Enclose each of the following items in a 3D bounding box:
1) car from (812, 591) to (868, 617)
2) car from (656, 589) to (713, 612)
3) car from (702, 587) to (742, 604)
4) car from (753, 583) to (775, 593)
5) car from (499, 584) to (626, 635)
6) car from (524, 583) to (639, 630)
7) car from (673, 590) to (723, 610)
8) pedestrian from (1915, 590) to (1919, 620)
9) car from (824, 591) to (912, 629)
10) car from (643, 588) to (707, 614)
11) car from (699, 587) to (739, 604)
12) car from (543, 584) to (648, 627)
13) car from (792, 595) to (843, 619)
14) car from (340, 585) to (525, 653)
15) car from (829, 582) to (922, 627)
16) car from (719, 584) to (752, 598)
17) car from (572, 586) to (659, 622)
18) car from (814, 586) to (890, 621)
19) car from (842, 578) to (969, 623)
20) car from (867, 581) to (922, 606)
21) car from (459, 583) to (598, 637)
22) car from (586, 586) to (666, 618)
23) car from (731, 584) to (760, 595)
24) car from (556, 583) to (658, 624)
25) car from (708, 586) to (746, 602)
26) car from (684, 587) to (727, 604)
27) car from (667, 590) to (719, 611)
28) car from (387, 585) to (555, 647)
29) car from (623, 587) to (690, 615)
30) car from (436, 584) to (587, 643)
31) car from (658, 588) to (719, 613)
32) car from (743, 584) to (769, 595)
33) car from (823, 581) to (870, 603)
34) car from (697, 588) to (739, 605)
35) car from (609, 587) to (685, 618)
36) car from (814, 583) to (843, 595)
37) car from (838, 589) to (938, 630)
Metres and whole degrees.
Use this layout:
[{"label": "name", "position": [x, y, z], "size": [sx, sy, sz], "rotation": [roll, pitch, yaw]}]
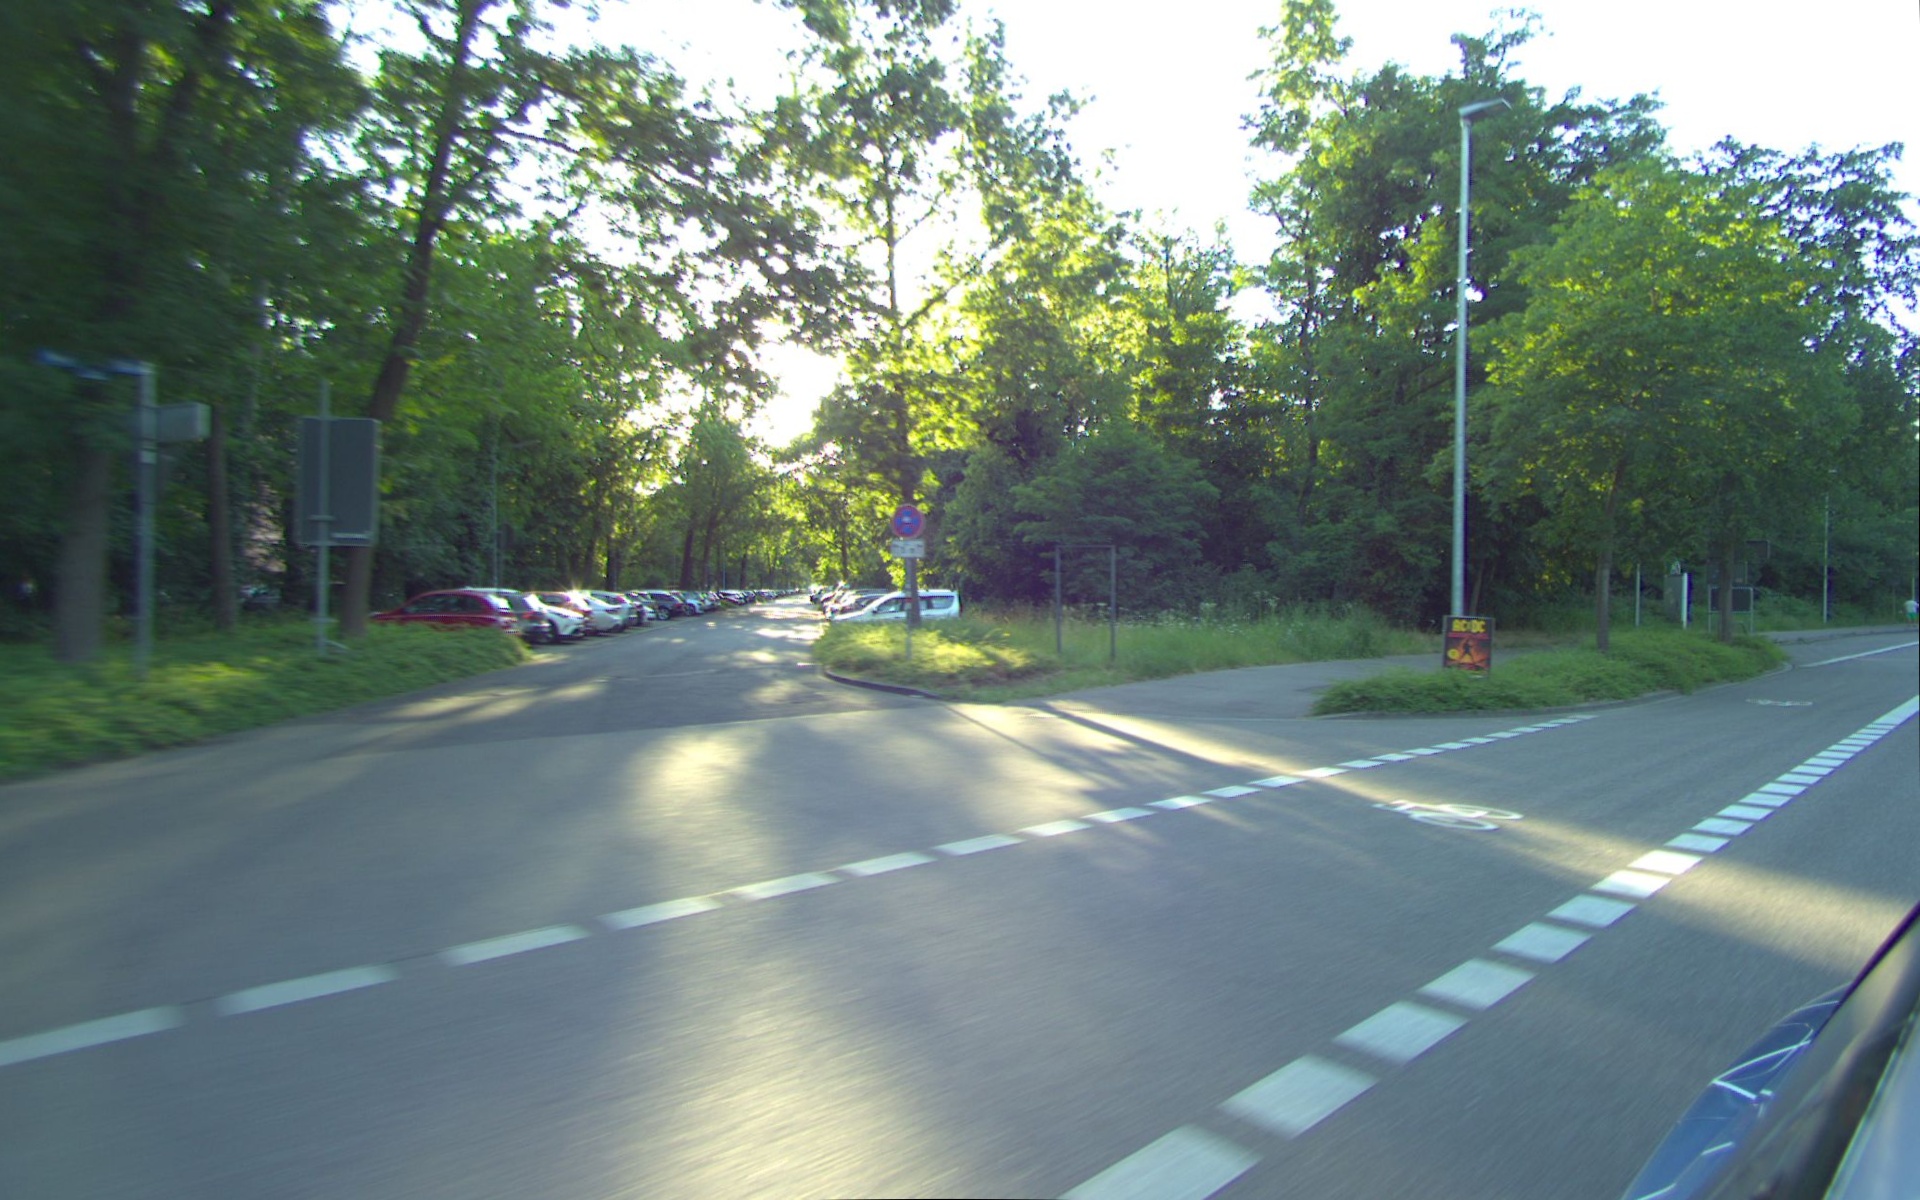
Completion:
[{"label": "car", "position": [-7.918, 0.263, 66.610], "size": [3.567, 1.683, 1.544], "rotation": [0, 1, -11]}, {"label": "car", "position": [-18.820, 0.032, 69.221], "size": [3.569, 1.534, 1.544], "rotation": [0, 1, -7]}, {"label": "car", "position": [-23.126, -0.441, 98.436], "size": [3.569, 1.534, 1.544], "rotation": [0, 1, -7]}, {"label": "car", "position": [-32.123, -1.929, 165.898], "size": [3.569, 1.534, 1.544], "rotation": [0, 1, -7]}, {"label": "car", "position": [-13.513, 0.306, 34.555], "size": [3.762, 1.667, 1.544], "rotation": [0, 1, -7]}, {"label": "car", "position": [-14.025, 0.223, 37.621], "size": [3.762, 1.667, 1.544], "rotation": [0, 1, -7]}, {"label": "car", "position": [-20.302, 0.005, 78.488], "size": [3.569, 1.534, 1.544], "rotation": [0, 1, -7]}, {"label": "pedestrian", "position": [57.574, 0.308, 60.375], "size": [0.713, 1.774, 0.840], "rotation": [1, 0, -40]}, {"label": "car", "position": [-3.897, 0.415, 42.755], "size": [3.567, 1.563, 1.544], "rotation": [0, 1, -11]}, {"label": "car", "position": [-17.364, 0.050, 61.755], "size": [3.569, 1.534, 1.544], "rotation": [0, 1, -7]}, {"label": "car", "position": [-22.878, -0.454, 96.038], "size": [3.569, 1.534, 1.544], "rotation": [0, 1, -7]}, {"label": "car", "position": [-14.722, 0.218, 40.980], "size": [3.762, 1.667, 1.544], "rotation": [0, 1, -7]}, {"label": "car", "position": [-10.276, 0.532, 72.960], "size": [3.567, 1.683, 1.544], "rotation": [0, 1, -11]}, {"label": "car", "position": [-12.986, 0.451, 25.079], "size": [3.762, 1.605, 1.544], "rotation": [0, 1, -7]}, {"label": "car", "position": [-3.411, 0.171, 40.679], "size": [3.567, 1.728, 1.544], "rotation": [0, 0, -11]}, {"label": "car", "position": [-25.744, -1.071, 115.975], "size": [3.569, 1.534, 1.544], "rotation": [0, 1, -7]}, {"label": "car", "position": [-15.757, 0.168, 46.425], "size": [3.569, 1.570, 1.544], "rotation": [0, 1, -7]}, {"label": "car", "position": [-5.358, 0.146, 49.978], "size": [3.567, 1.683, 1.544], "rotation": [0, 1, -11]}, {"label": "car", "position": [-1.779, 0.014, 32.735], "size": [3.916, 1.414, 1.544], "rotation": [0, 1, -11]}, {"label": "car", "position": [-4.455, -0.450, 68.727], "size": [3.569, 1.683, 1.544], "rotation": [0, 0, -8]}, {"label": "car", "position": [-13.578, 0.303, 32.029], "size": [3.762, 1.667, 1.544], "rotation": [0, 1, -7]}, {"label": "car", "position": [-16.671, 0.090, 50.564], "size": [3.569, 1.570, 1.544], "rotation": [0, 1, -7]}, {"label": "car", "position": [-28.401, -1.395, 134.185], "size": [3.569, 1.534, 1.544], "rotation": [0, 1, -7]}, {"label": "car", "position": [-15.242, 0.125, 43.840], "size": [3.913, 1.667, 1.544], "rotation": [1, 0, -7]}, {"label": "car", "position": [-23.634, -0.622, 102.636], "size": [3.569, 1.534, 1.544], "rotation": [0, 1, -7]}, {"label": "car", "position": [-22.672, -0.396, 90.143], "size": [3.569, 1.534, 1.544], "rotation": [0, 1, -7]}, {"label": "car", "position": [-19.735, 0.052, 74.945], "size": [3.569, 1.534, 1.544], "rotation": [0, 1, -7]}, {"label": "car", "position": [-13.073, 0.416, 27.213], "size": [3.762, 1.605, 1.544], "rotation": [0, 1, -7]}, {"label": "car", "position": [-17.658, 0.069, 58.970], "size": [3.569, 1.570, 1.544], "rotation": [0, 1, -7]}, {"label": "car", "position": [-13.045, 0.390, 29.628], "size": [3.762, 1.667, 1.544], "rotation": [0, 1, -7]}, {"label": "car", "position": [-17.233, 0.013, 64.263], "size": [3.569, 1.534, 1.544], "rotation": [0, 1, -7]}, {"label": "car", "position": [-29.230, -1.513, 145.241], "size": [3.569, 1.534, 1.544], "rotation": [0, 1, -7]}, {"label": "car", "position": [-8.748, -0.624, 77.949], "size": [3.569, 1.683, 1.544], "rotation": [0, 0, -8]}, {"label": "car", "position": [-22.171, -0.321, 92.837], "size": [3.569, 1.534, 1.544], "rotation": [0, 1, -7]}, {"label": "car", "position": [-16.305, 0.140, 52.853], "size": [3.569, 1.570, 1.544], "rotation": [0, 1, -7]}, {"label": "car", "position": [-16.992, -1.394, 130.770], "size": [3.569, 1.534, 1.544], "rotation": [0, 1, -7]}, {"label": "car", "position": [-2.743, 0.336, 38.137], "size": [3.567, 1.500, 1.544], "rotation": [0, 1, -11]}]
